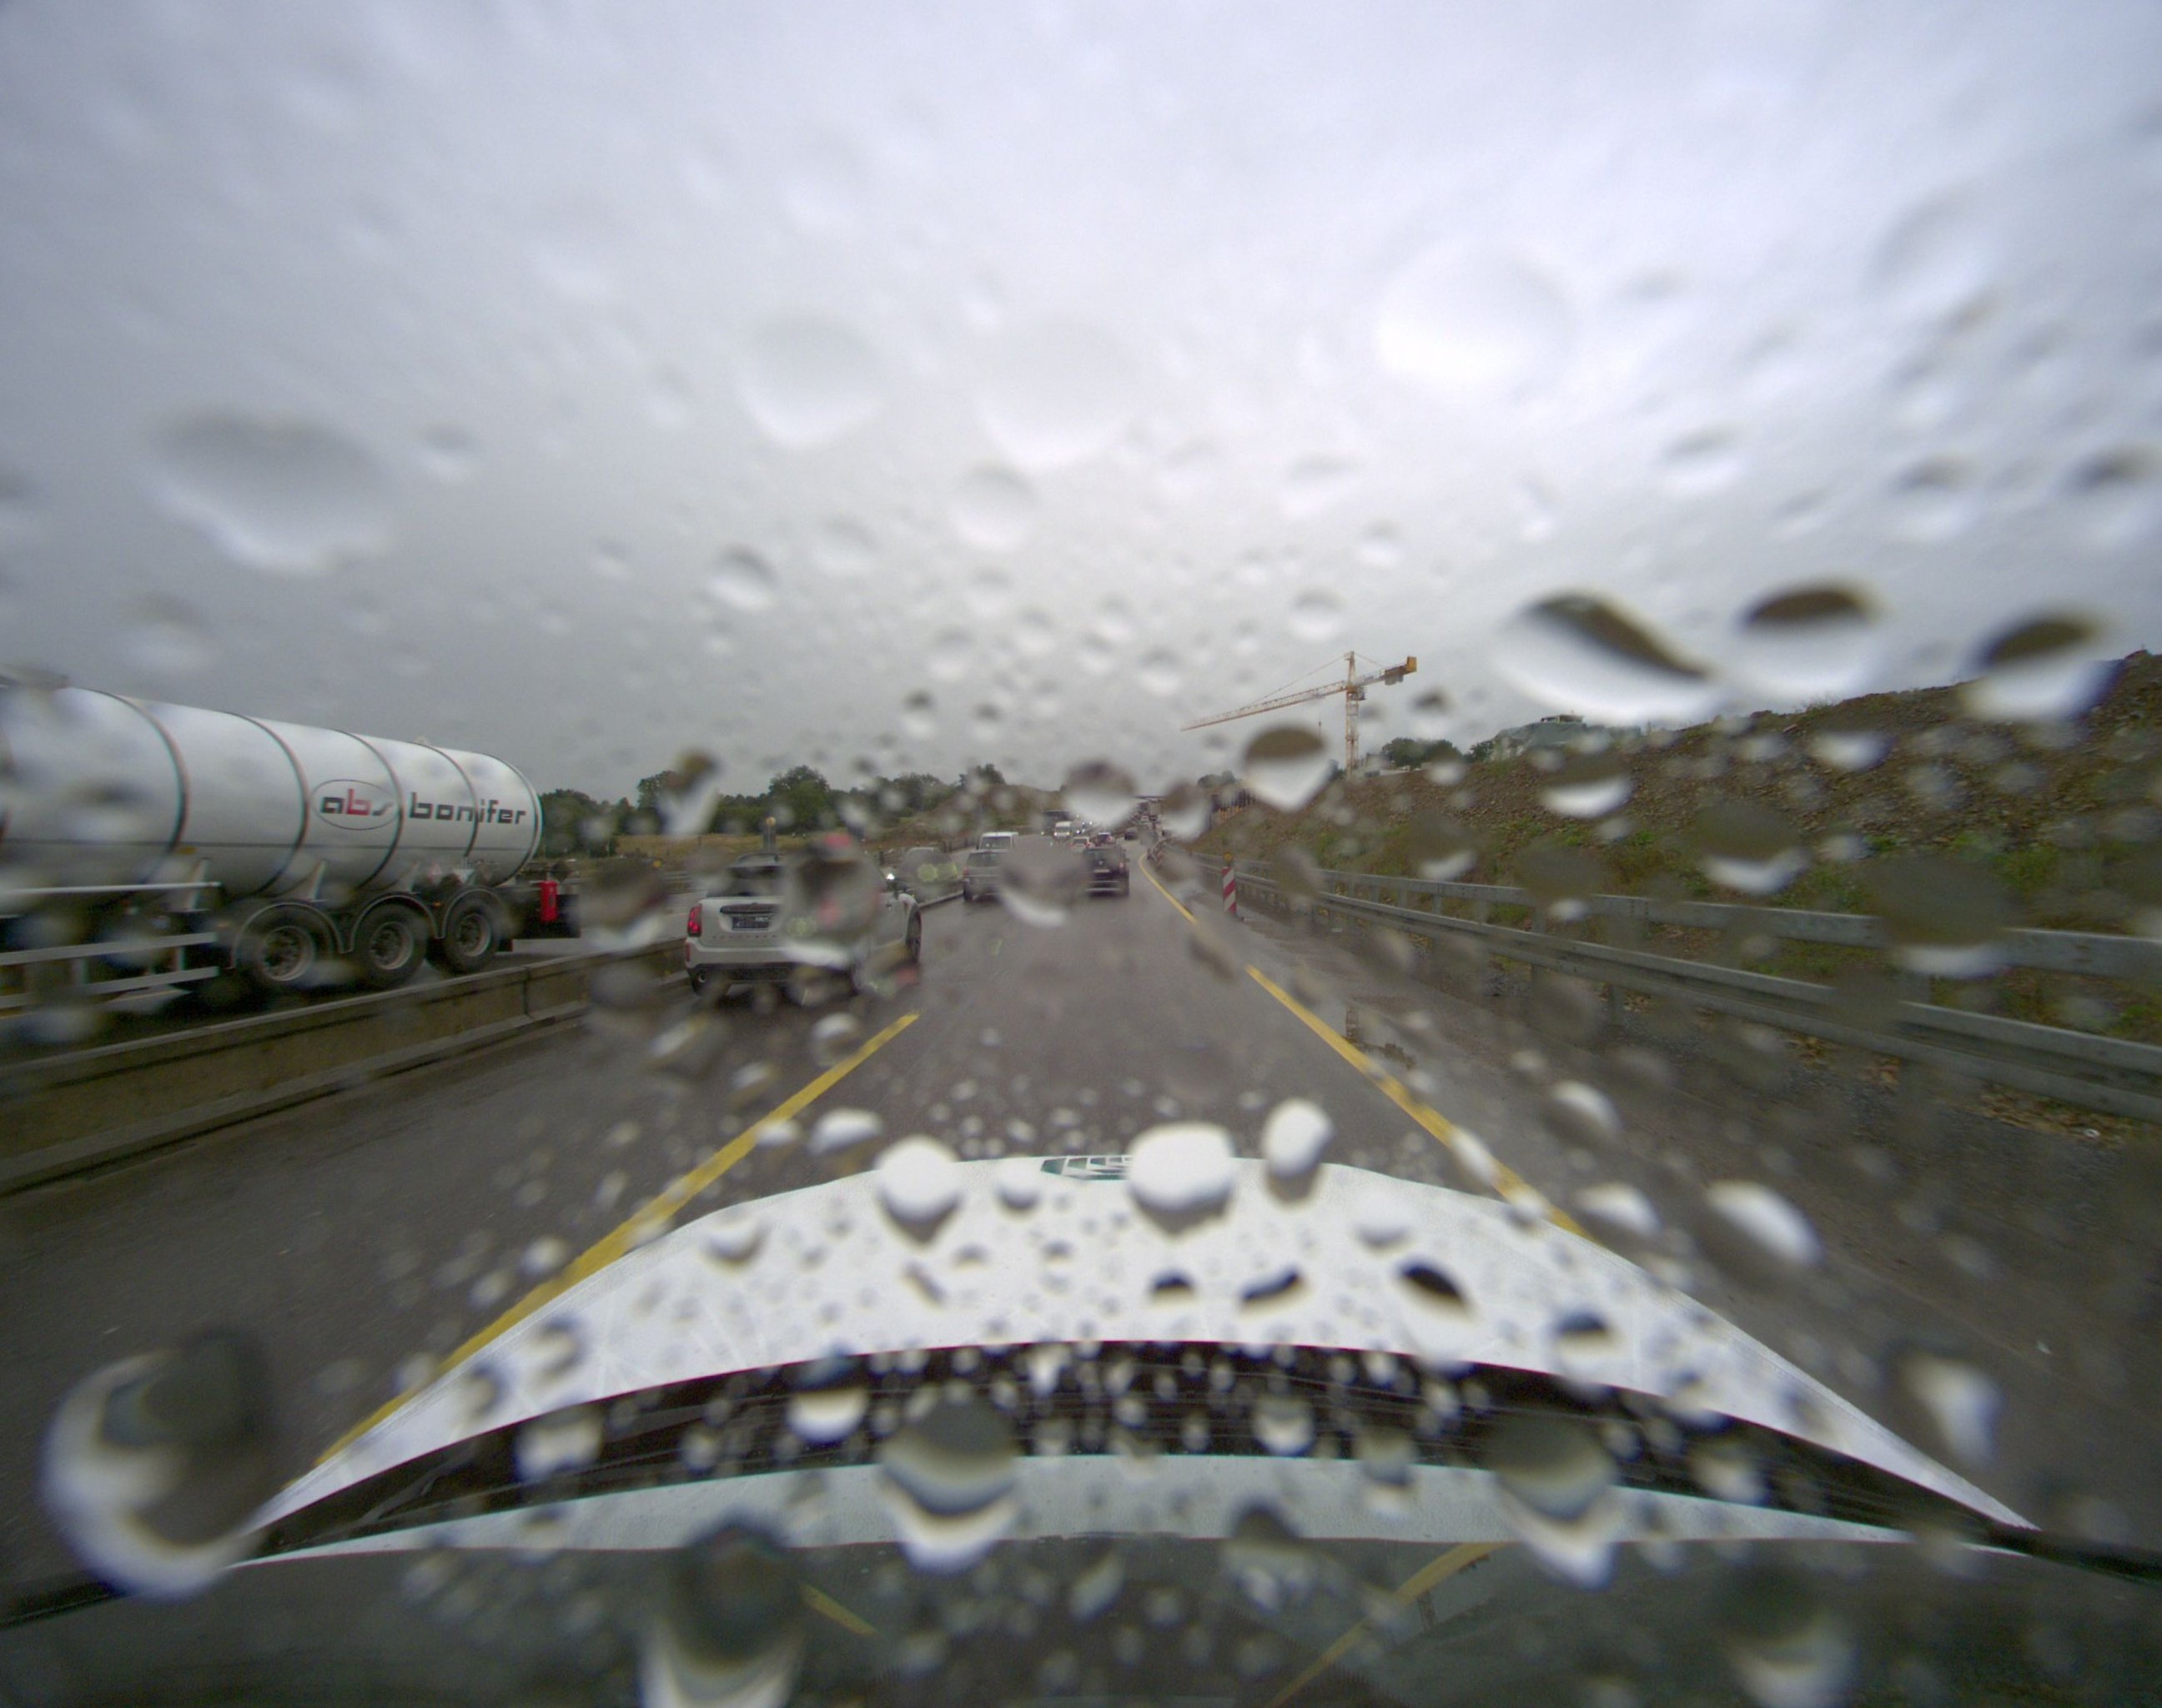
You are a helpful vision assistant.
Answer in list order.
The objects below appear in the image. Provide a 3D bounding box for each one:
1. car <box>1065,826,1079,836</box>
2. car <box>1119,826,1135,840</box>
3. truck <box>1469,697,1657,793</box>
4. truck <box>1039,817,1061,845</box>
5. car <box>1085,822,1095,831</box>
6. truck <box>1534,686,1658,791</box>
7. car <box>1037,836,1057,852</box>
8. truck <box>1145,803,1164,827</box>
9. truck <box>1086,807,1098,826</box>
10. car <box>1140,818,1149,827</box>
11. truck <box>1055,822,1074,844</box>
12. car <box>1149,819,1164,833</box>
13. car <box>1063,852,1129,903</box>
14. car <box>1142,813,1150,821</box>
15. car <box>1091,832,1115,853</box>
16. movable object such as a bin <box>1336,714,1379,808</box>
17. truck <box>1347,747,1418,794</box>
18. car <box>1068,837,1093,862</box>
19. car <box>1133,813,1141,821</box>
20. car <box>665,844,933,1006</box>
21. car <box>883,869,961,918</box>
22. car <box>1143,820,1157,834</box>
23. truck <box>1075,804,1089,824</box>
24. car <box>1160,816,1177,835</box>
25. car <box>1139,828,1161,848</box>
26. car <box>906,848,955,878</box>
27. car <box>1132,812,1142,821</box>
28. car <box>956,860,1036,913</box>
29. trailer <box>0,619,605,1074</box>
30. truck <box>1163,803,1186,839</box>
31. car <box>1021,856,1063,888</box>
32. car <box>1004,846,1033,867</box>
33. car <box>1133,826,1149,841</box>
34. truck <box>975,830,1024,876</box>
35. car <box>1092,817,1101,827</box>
[{"bbox_3d":[-1.317,-3.518,122.585,1.862,1.471,4.672,-1,2,1],"label":"car"},{"bbox_3d":[6.128,-2.776,107.903,1.985,1.761,3.818,-1,0,3],"label":"car"},{"bbox_3d":[20.539,-4.501,35.602,3.380,2.875,8.969,-1,0,4],"label":"truck"},{"bbox_3d":[-4.497,-3.432,119.441,2.632,3.969,9.217,-1,2,1],"label":"truck"},{"bbox_3d":[1.770,-5.248,154.866,1.730,1.684,5.556,-1,2,3],"label":"car"},{"bbox_3d":[25.132,-5.500,40.078,2.364,4.218,5.981,-1,-1,2],"label":"truck"},{"bbox_3d":[-3.471,-1.059,83.460,1.670,1.524,4.347,-2,1,2],"label":"car"},{"bbox_3d":[17.704,-9.454,197.545,3.789,5.042,12.926,-1,0,2],"label":"truck"},{"bbox_3d":[3.312,-11.474,249.458,3.128,5.417,8.532,-1,1,3],"label":"truck"},{"bbox_3d":[13.792,-6.799,175.957,1.842,1.894,4.025,-1,0,3],"label":"car"},{"bbox_3d":[-2.090,-2.703,106.062,2.139,2.713,6.019,-1,1,2],"label":"truck"},{"bbox_3d":[13.165,-4.809,141.635,1.980,2.163,4.153,-1,0,11],"label":"car"},{"bbox_3d":[0.601,0.760,27.984,2.072,1.600,4.144,-1,0,3],"label":"car"},{"bbox_3d":[18.730,-10.525,233.462,1.986,2.014,4.001,-1,0,2],"label":"car"},{"bbox_3d":[2.456,-1.177,88.475,1.981,2.163,4.151,-1,0,10],"label":"car"},{"bbox_3d":[35.549,-11.730,105.267,4.682,10.842,10.348,-1,-1,17],"label":"movable object such as a bin"},{"bbox_3d":[21.466,-5.904,58.335,2.635,2.554,6.987,-1,0,2],"label":"truck"},{"bbox_3d":[0.000,-0.353,68.773,1.986,2.014,3.895,-1,0,2],"label":"car"},{"bbox_3d":[14.878,-9.752,215.830,1.986,2.013,4.003,-2,1,2],"label":"car"},{"bbox_3d":[-3.251,0.712,10.414,1.809,1.600,4.309,-1,0,1],"label":"car"},{"bbox_3d":[-5.800,1.407,30.274,1.766,1.504,4.681,-2,0,2],"label":"car"},{"bbox_3d":[11.210,-4.355,131.333,1.983,2.163,4.149,-1,0,7],"label":"car"},{"bbox_3d":[0.260,-10.598,217.118,3.070,4.919,8.573,-1,1,3],"label":"truck"},{"bbox_3d":[12.503,-3.978,116.377,1.981,2.484,4.995,-1,0,10],"label":"car"},{"bbox_3d":[8.036,-1.857,94.662,1.980,2.163,4.155,-1,0,13],"label":"car"},{"bbox_3d":[-8.258,0.447,44.914,1.781,1.546,4.002,-1,1,2],"label":"car"},{"bbox_3d":[13.180,-8.902,191.670,1.986,2.013,4.003,-2,1,2],"label":"car"},{"bbox_3d":[-2.745,1.011,27.129,1.985,1.600,4.144,-1,0,3],"label":"car"},{"bbox_3d":[-9.968,-0.035,8.480,2.610,3.677,12.008,-1,0,2],"label":"trailer"},{"bbox_3d":[15.713,-5.436,136.669,3.082,5.426,9.469,-1,0,10],"label":"truck"},{"bbox_3d":[-2.072,0.940,44.532,1.986,1.600,4.141,-1,0,1],"label":"car"},{"bbox_3d":[-4.892,0.178,64.458,1.780,1.538,4.314,-2,0,2],"label":"car"},{"bbox_3d":[8.839,-3.003,119.835,1.981,2.163,4.152,-1,0,10],"label":"car"},{"bbox_3d":[-4.767,-0.034,48.504,2.071,2.576,5.964,-1,0,2],"label":"truck"},{"bbox_3d":[3.446,-6.915,175.234,1.778,1.810,4.502,-1,0,3],"label":"car"}]
